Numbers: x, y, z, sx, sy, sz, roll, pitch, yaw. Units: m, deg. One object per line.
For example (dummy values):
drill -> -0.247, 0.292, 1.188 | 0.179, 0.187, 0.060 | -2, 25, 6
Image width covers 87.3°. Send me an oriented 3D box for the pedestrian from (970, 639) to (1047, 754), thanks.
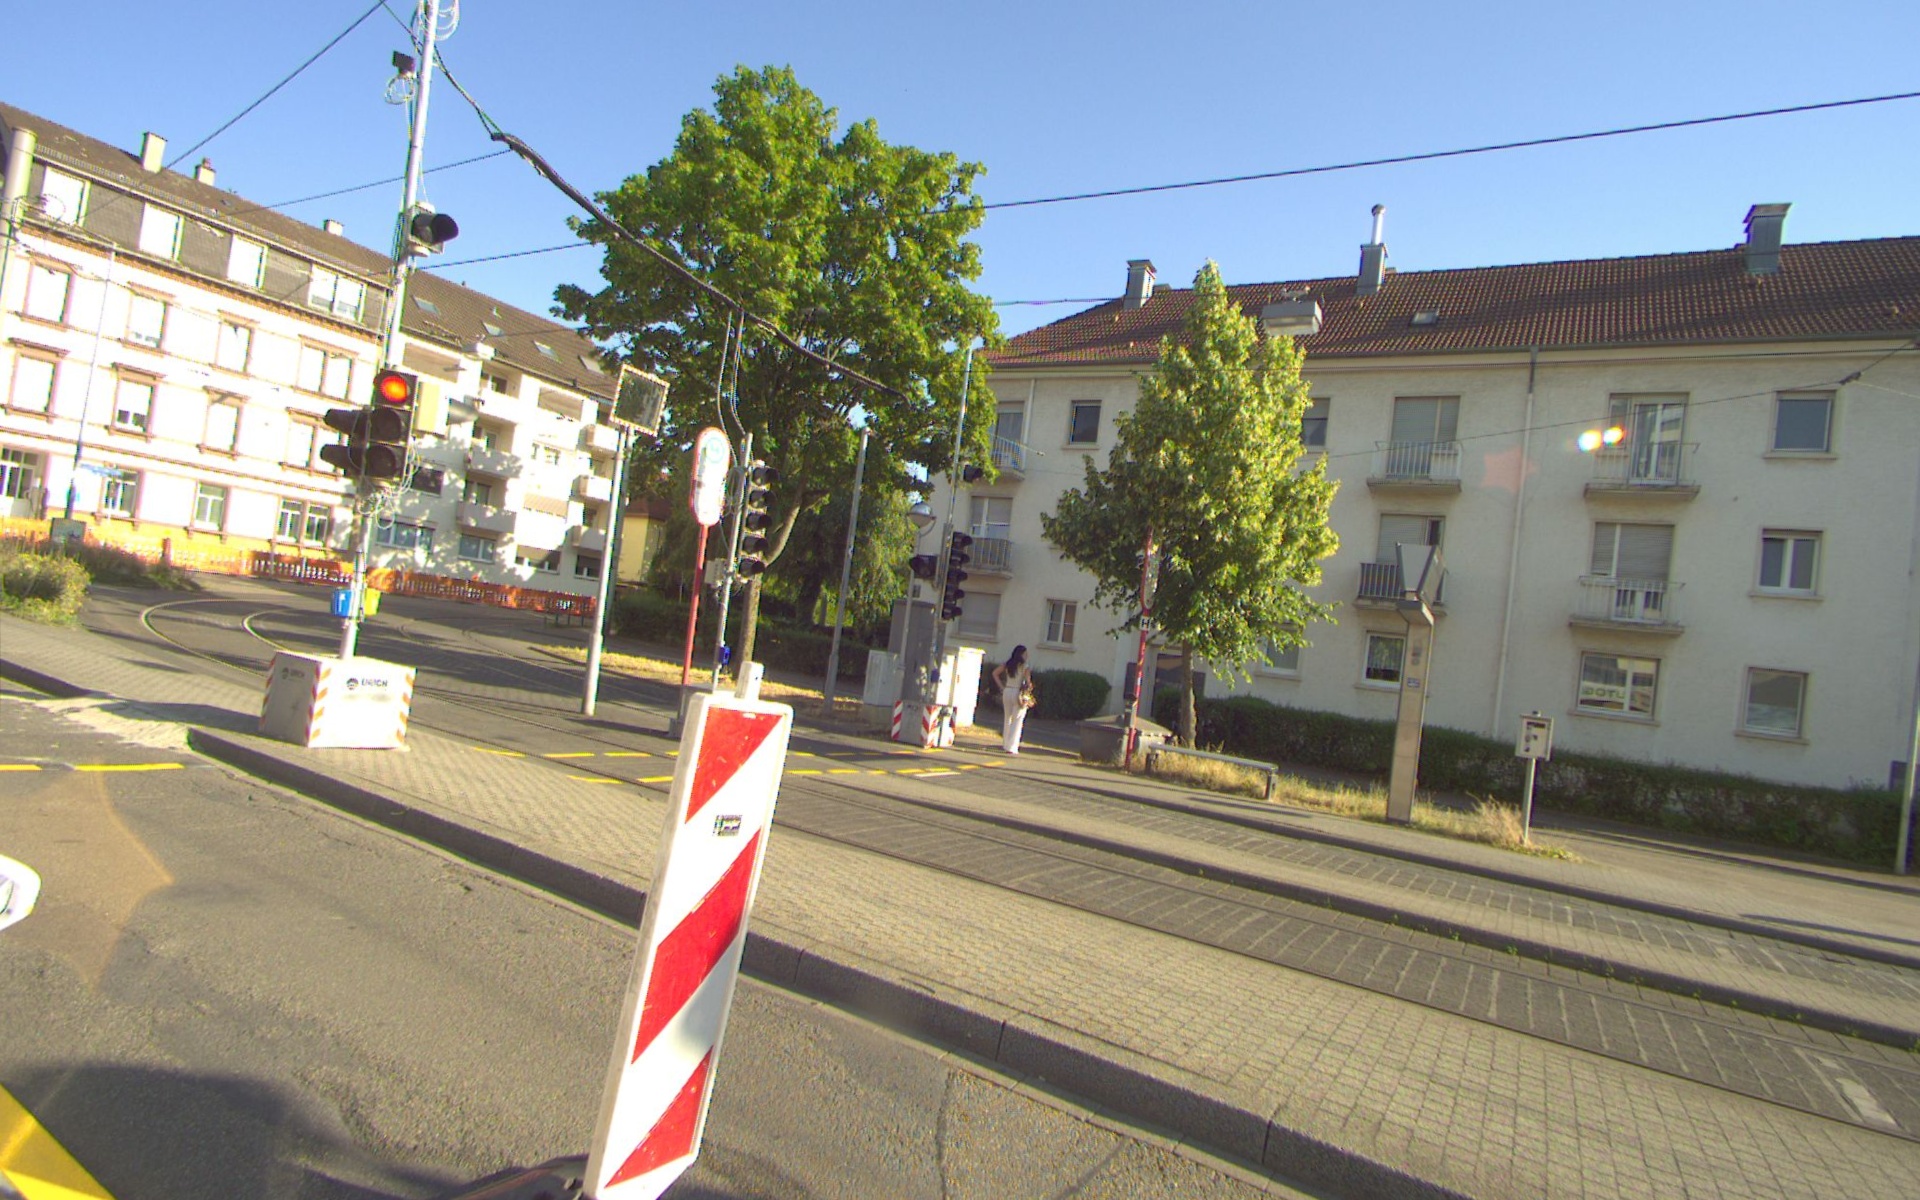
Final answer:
pedestrian -> 0.768, 1.495, 15.655 | 0.811, 1.639, 0.791 | 7, -1, 21
